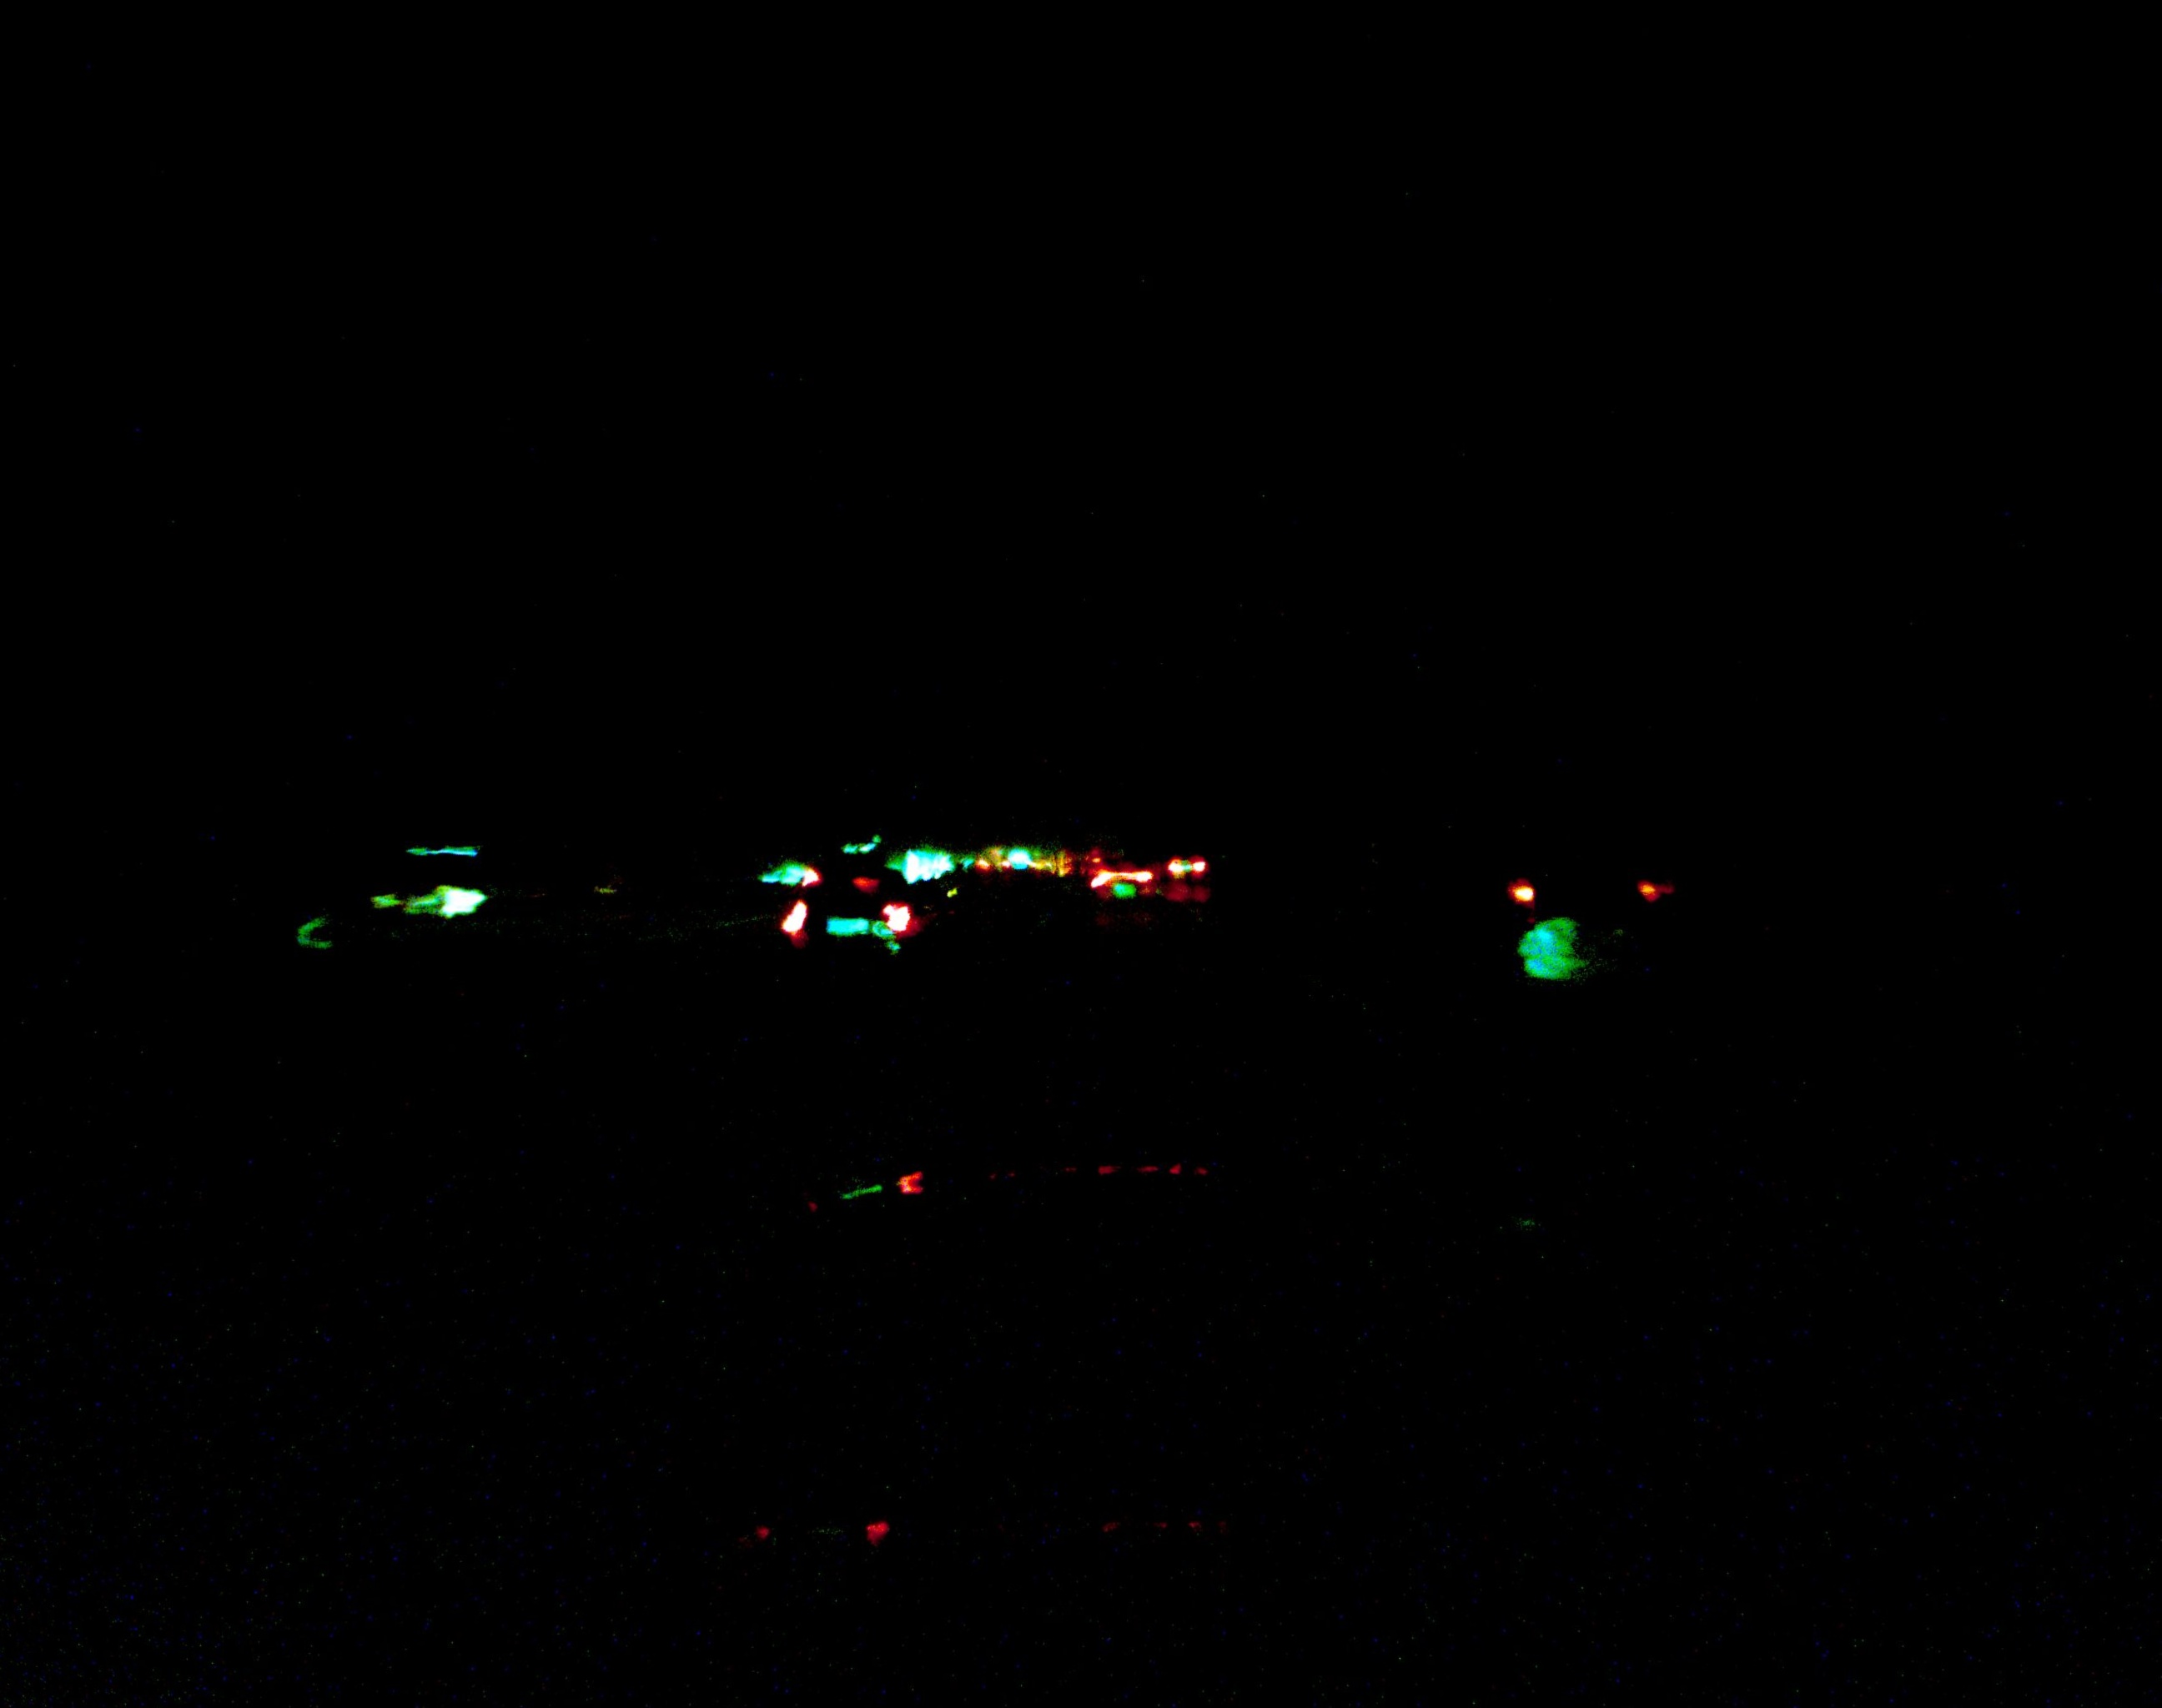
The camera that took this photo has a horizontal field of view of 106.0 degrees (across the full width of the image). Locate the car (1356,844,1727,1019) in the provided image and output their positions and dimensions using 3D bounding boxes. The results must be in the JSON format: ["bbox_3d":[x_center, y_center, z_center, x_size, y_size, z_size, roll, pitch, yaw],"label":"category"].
[{"bbox_3d":[4.638,0.658,9.043,1.764,1.457,4.195,-1,0,0],"label":"car"}]

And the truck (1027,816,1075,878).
[{"bbox_3d":[-2.549,-0.472,67.663,3.648,4.737,9.840,-1,-1,-3],"label":"truck"}]

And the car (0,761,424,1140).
[{"bbox_3d":[-7.057,0.552,4.524,2.115,2.104,5.631,-1,0,1],"label":"car"}]

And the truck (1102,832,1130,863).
[{"bbox_3d":[6.191,-1.111,145.401,4.151,5.215,9.946,-1,-1,-2],"label":"truck"}]

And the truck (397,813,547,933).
[{"bbox_3d":[-30.646,0.921,41.336,3.230,5.592,5.874,-1,-1,-2],"label":"truck"}]

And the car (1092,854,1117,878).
[{"bbox_3d":[1.776,0.912,63.025,1.760,1.762,3.998,-1,-1,-1],"label":"car"}]

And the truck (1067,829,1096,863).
[{"bbox_3d":[0.163,-1.253,136.344,4.237,5.444,10.890,-1,-1,2],"label":"truck"}]

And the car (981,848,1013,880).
[{"bbox_3d":[-6.272,0.714,60.862,2.260,2.273,5.375,-1,-1,-6],"label":"car"}]

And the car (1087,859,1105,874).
[{"bbox_3d":[1.703,1.394,93.652,1.986,1.704,4.459,-1,-1,1],"label":"car"}]

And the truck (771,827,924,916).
[{"bbox_3d":[-6.432,0.477,23.416,2.850,2.201,5.854,-1,-1,-2],"label":"truck"}]

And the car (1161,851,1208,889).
[{"bbox_3d":[5.035,0.791,40.148,1.871,1.762,4.001,-1,-1,1],"label":"car"}]

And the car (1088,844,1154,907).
[{"bbox_3d":[1.150,0.584,24.155,1.759,1.689,4.001,-1,0,1],"label":"car"}]

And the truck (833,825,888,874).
[{"bbox_3d":[-22.755,-0.421,84.540,3.776,4.909,6.478,-1,-1,1],"label":"truck"}]

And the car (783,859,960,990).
[{"bbox_3d":[-2.709,0.812,11.472,1.653,1.431,4.240,-1,0,-4],"label":"car"}]

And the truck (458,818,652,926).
[{"bbox_3d":[-30.700,1.000,48.715,3.228,5.592,12.795,-1,-1,1],"label":"truck"}]

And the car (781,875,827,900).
[{"bbox_3d":[-18.209,2.190,53.713,1.651,1.513,4.000,-1,-1,1],"label":"car"}]
